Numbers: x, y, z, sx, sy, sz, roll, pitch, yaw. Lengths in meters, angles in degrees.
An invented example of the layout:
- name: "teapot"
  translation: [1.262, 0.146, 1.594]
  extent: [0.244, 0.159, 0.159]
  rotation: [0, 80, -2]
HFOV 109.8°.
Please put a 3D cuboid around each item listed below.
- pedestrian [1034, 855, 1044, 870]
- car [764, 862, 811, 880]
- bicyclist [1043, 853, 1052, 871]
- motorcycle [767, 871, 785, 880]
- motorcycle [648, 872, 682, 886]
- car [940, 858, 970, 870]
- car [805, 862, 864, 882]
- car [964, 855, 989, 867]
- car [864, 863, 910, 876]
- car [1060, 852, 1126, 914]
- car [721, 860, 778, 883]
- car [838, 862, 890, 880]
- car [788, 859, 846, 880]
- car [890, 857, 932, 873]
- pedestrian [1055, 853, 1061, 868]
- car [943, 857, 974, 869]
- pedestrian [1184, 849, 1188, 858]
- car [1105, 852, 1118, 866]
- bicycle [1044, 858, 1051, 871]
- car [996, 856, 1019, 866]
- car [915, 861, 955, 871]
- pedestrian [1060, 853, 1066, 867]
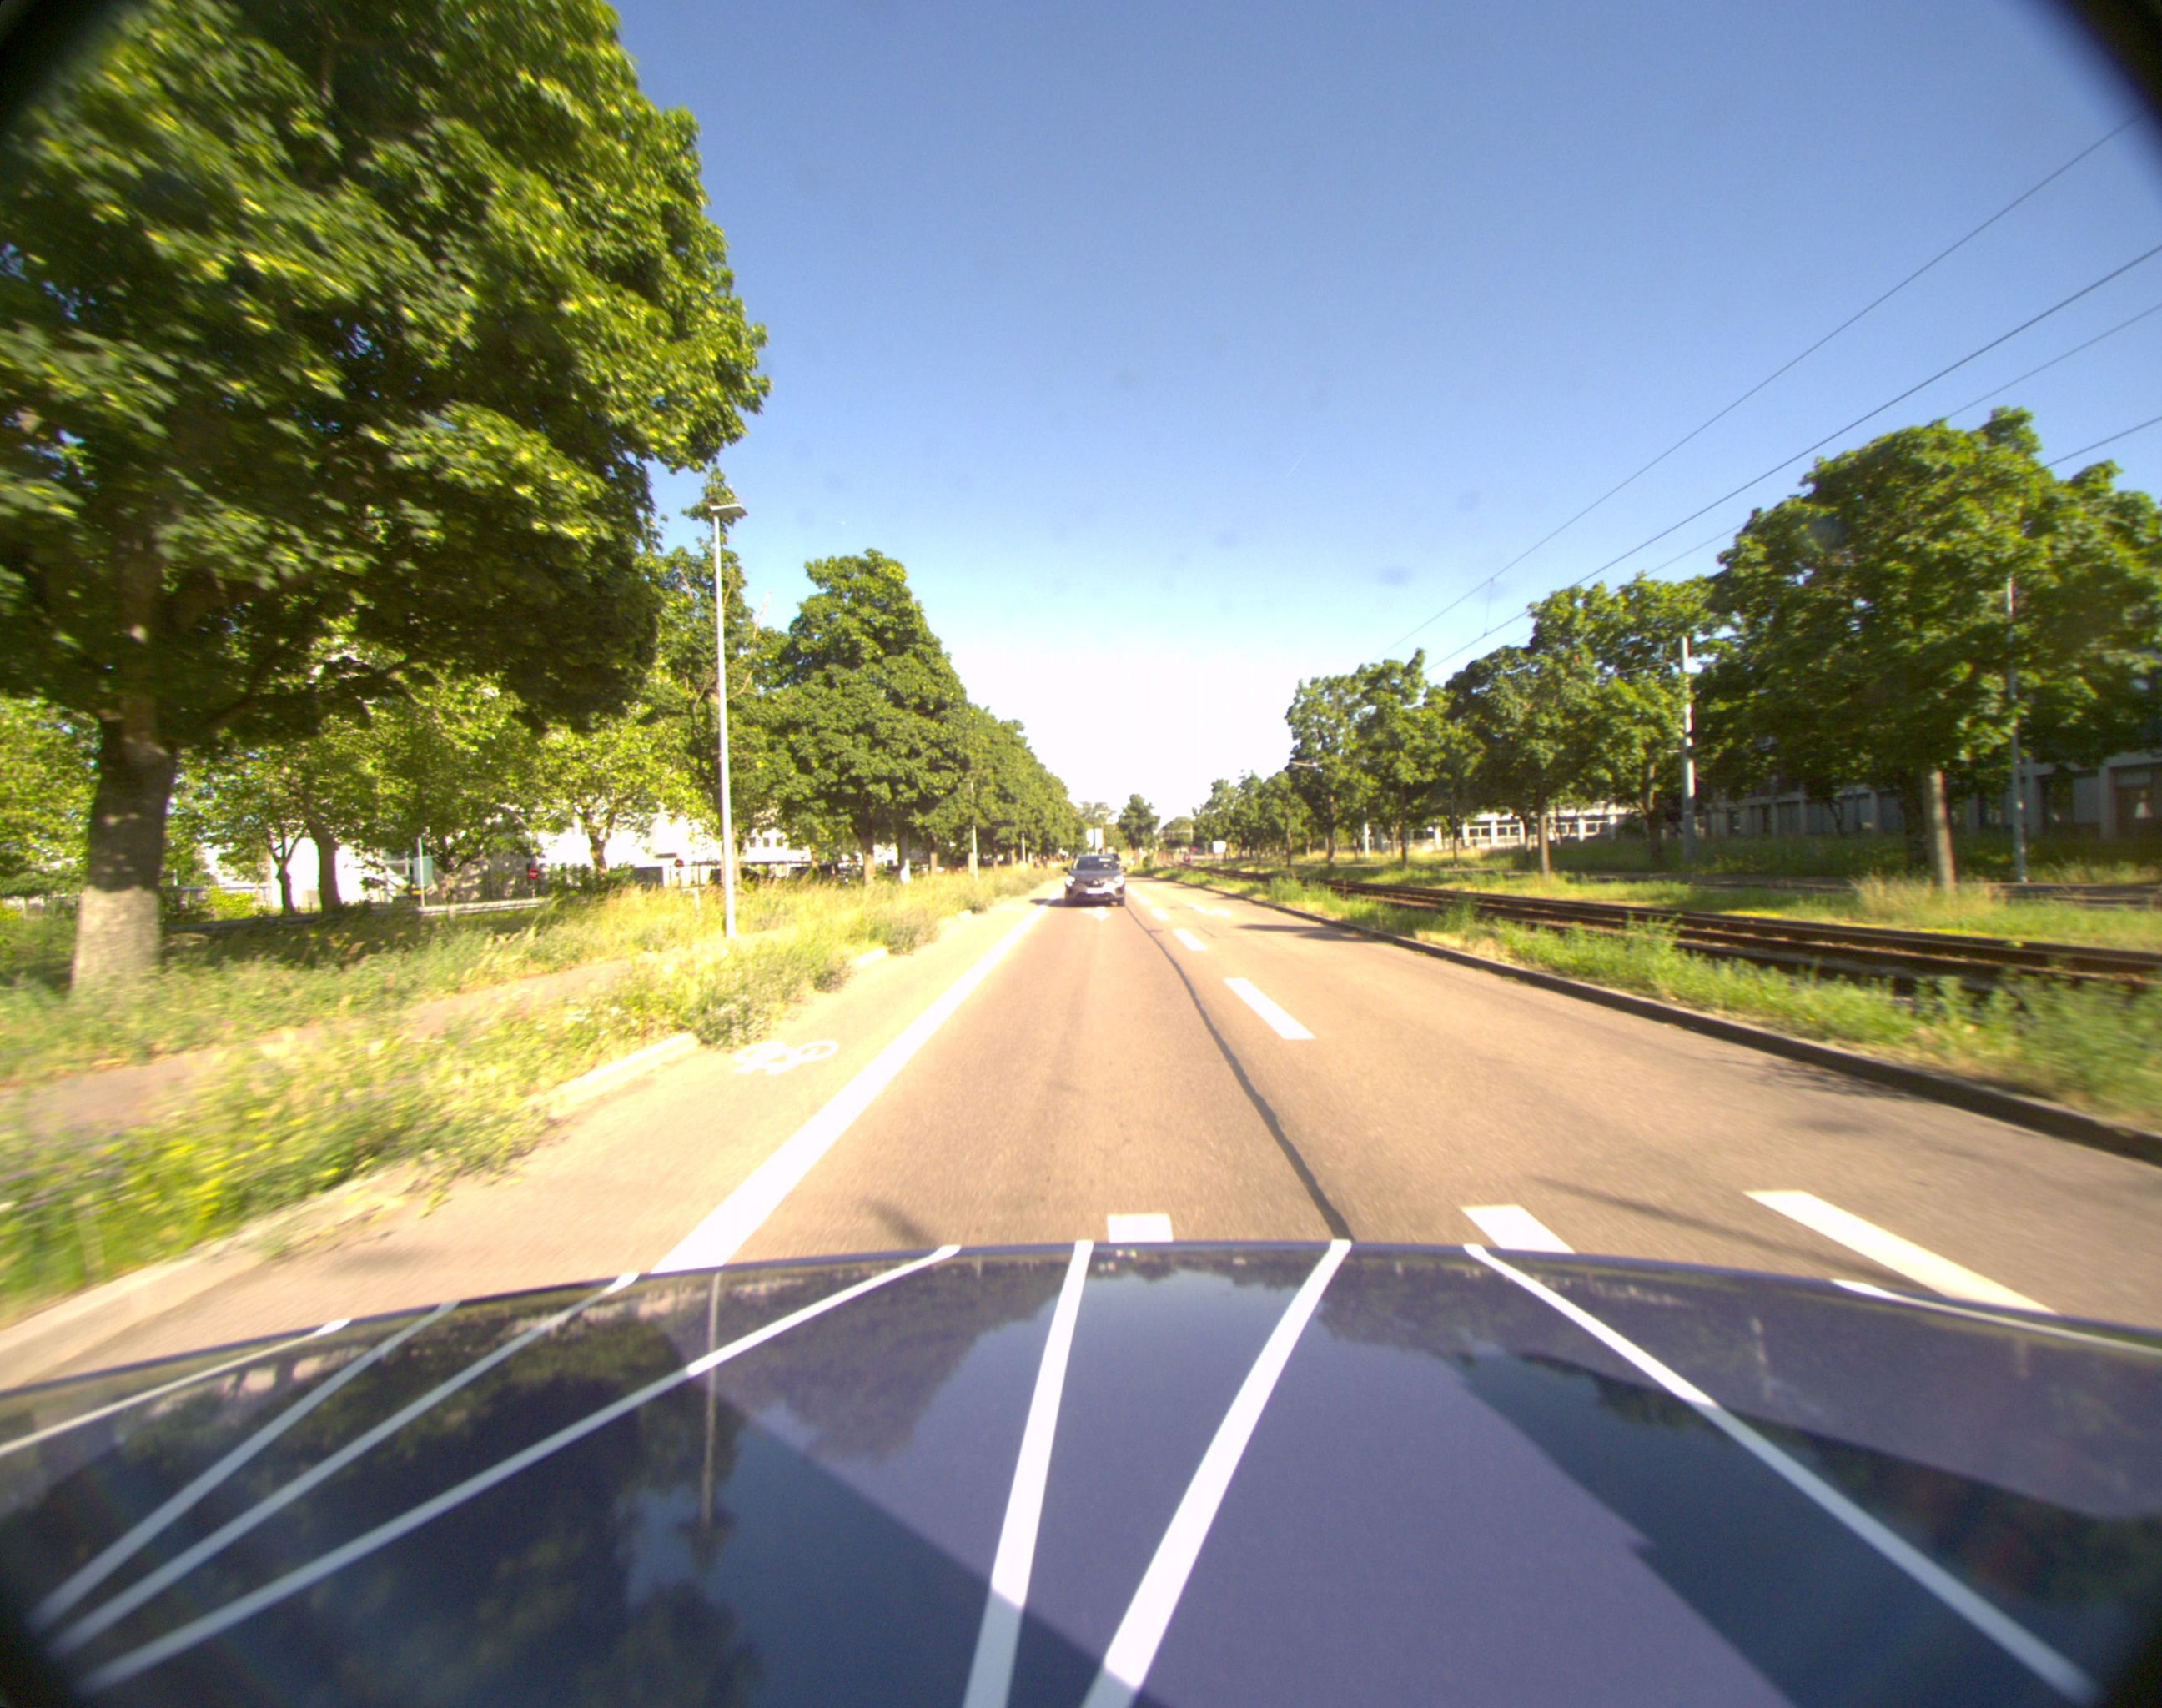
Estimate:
- name: "pedestrian"
  translation: [-4.258, 0.851, 77.694]
  extent: [0.826, 1.560, 0.762]
  rotation: [-2, 1, 4]
- name: "car"
  translation: [-34.686, 1.986, 89.913]
  extent: [4.760, 1.938, 1.975]
  rotation: [-2, 0, 3]
- name: "bicyclist"
  translation: [-3.270, 0.740, 74.551]
  extent: [0.684, 1.710, 0.902]
  rotation: [-2, 1, 3]
- name: "motorcycle"
  translation: [-32.198, 2.260, 80.130]
  extent: [1.653, 0.965, 0.538]
  rotation: [-2, 0, 3]
- name: "motorcycle"
  translation: [-44.529, 2.673, 81.321]
  extent: [3.042, 1.313, 1.016]
  rotation: [-2, 0, -3]
- name: "car"
  translation: [-18.076, 1.426, 109.126]
  extent: [4.243, 1.527, 1.765]
  rotation: [-1, 0, -6]
- name: "car"
  translation: [-20.646, 1.492, 63.709]
  extent: [4.365, 1.450, 1.689]
  rotation: [-2, 0, 7]
- name: "car"
  translation: [-16.703, 1.140, 121.526]
  extent: [3.976, 1.629, 1.727]
  rotation: [-2, 0, 43]
- name: "car"
  translation: [-20.933, 1.644, 81.993]
  extent: [4.300, 1.316, 1.942]
  rotation: [-1, -1, 8]
- name: "car"
  translation: [0.443, 0.789, 22.998]
  extent: [1.750, 1.585, 4.247]
  rotation: [-2, 1, 3]
- name: "car"
  translation: [-32.114, 1.695, 73.573]
  extent: [4.595, 2.002, 1.958]
  rotation: [-2, 0, 5]
- name: "car"
  translation: [-20.014, 1.531, 70.127]
  extent: [4.173, 1.423, 1.825]
  rotation: [-3, 0, 7]
- name: "car"
  translation: [-21.328, 1.239, 61.525]
  extent: [4.039, 1.496, 1.739]
  rotation: [-2, 0, 4]
- name: "car"
  translation: [-19.397, 1.239, 86.824]
  extent: [4.402, 1.587, 1.884]
  rotation: [-2, 0, 0]
- name: "pedestrian"
  translation: [-3.250, 0.891, 105.329]
  extent: [0.710, 1.919, 0.816]
  rotation: [-3, 1, -3]
- name: "car"
  translation: [-17.891, 1.356, 111.244]
  extent: [4.348, 1.690, 1.765]
  rotation: [-1, 0, -6]
- name: "pedestrian"
  translation: [21.870, -0.160, 157.968]
  extent: [0.785, 1.741, 0.782]
  rotation: [-2, 1, 4]
- name: "car"
  translation: [3.927, 0.624, 96.827]
  extent: [1.555, 1.764, 3.457]
  rotation: [-1, 0, 3]
- name: "bicycle"
  translation: [-3.275, 1.026, 74.432]
  extent: [0.484, 1.197, 2.144]
  rotation: [-3, 0, 4]
- name: "car"
  translation: [-15.270, 1.367, 157.487]
  extent: [2.083, 1.865, 5.173]
  rotation: [-3, 0, -40]
- name: "car"
  translation: [-18.841, 1.563, 98.093]
  extent: [4.709, 1.263, 1.808]
  rotation: [-1, -1, 1]
- name: "pedestrian"
  translation: [-2.458, 0.816, 105.385]
  extent: [0.710, 1.906, 0.816]
  rotation: [-3, 1, -3]
